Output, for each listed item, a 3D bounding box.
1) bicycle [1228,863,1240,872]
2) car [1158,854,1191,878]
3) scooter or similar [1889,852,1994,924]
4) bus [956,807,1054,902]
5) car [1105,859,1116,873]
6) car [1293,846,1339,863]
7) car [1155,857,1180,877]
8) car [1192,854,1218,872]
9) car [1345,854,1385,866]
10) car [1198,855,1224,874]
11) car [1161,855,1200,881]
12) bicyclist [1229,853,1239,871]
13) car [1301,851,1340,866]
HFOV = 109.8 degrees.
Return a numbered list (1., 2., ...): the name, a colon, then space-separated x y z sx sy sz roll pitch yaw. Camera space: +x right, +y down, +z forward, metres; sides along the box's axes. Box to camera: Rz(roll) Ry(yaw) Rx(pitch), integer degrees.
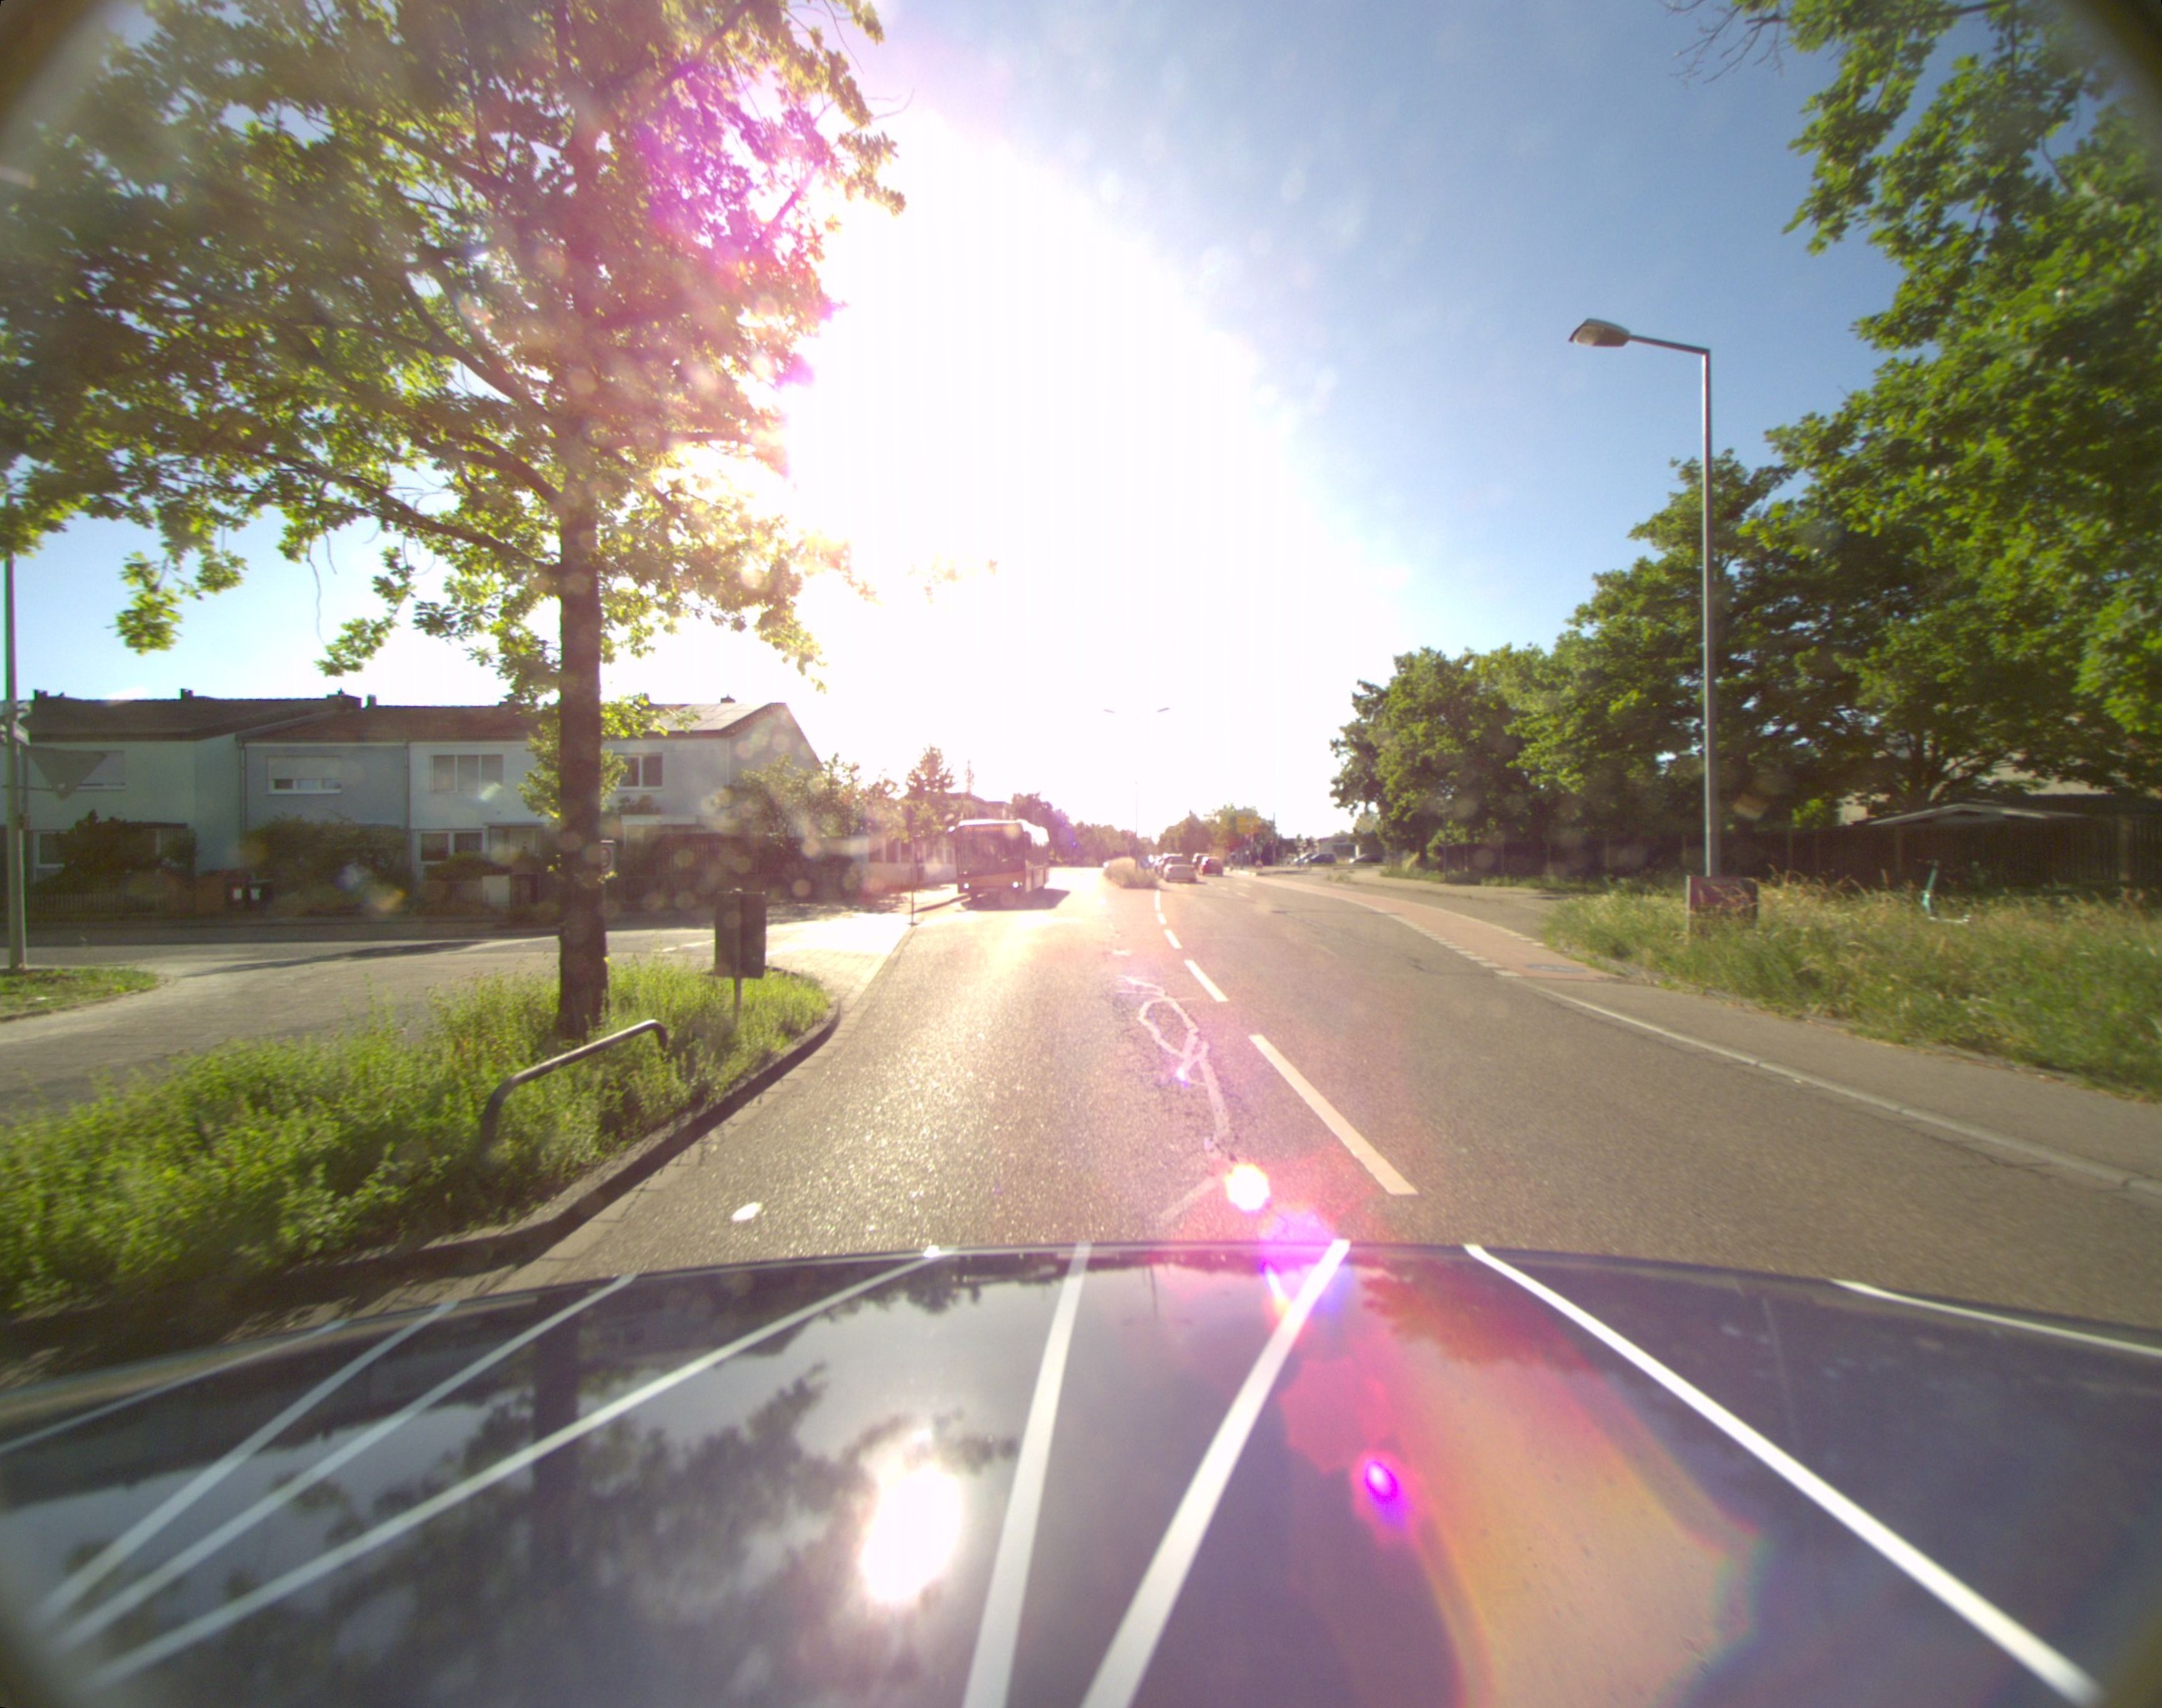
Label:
1. bicycle: 14.310 1.254 71.107 0.750 0.842 1.991 0 0 3
2. car: 6.425 0.801 52.656 1.998 1.606 4.531 0 0 3
3. scooter or similar: 15.411 0.600 13.654 0.539 1.211 1.415 -2 -1 16
4. bus: -2.983 -0.049 33.642 2.764 3.438 12.397 0 1 2
5. car: 4.416 1.726 113.938 1.729 2.002 4.000 0 0 2
6. car: 29.766 0.101 96.335 5.272 2.001 2.049 0 -2 0
7. car: 6.775 1.017 59.682 1.750 1.474 3.889 0 0 4
8. car: 11.490 0.822 70.872 1.998 1.634 4.532 0 0 4
9. car: 33.443 0.693 89.605 4.037 1.266 1.894 0 -2 0
10. car: 10.150 0.819 59.445 1.649 1.474 3.715 0 0 4
11. car: 5.897 0.809 45.321 1.998 1.442 4.400 0 0 3
12. bicyclist: 14.313 0.759 71.138 0.746 1.692 1.242 0 0 3
13. car: 28.166 0.537 89.403 4.037 1.633 1.894 0 -2 0
